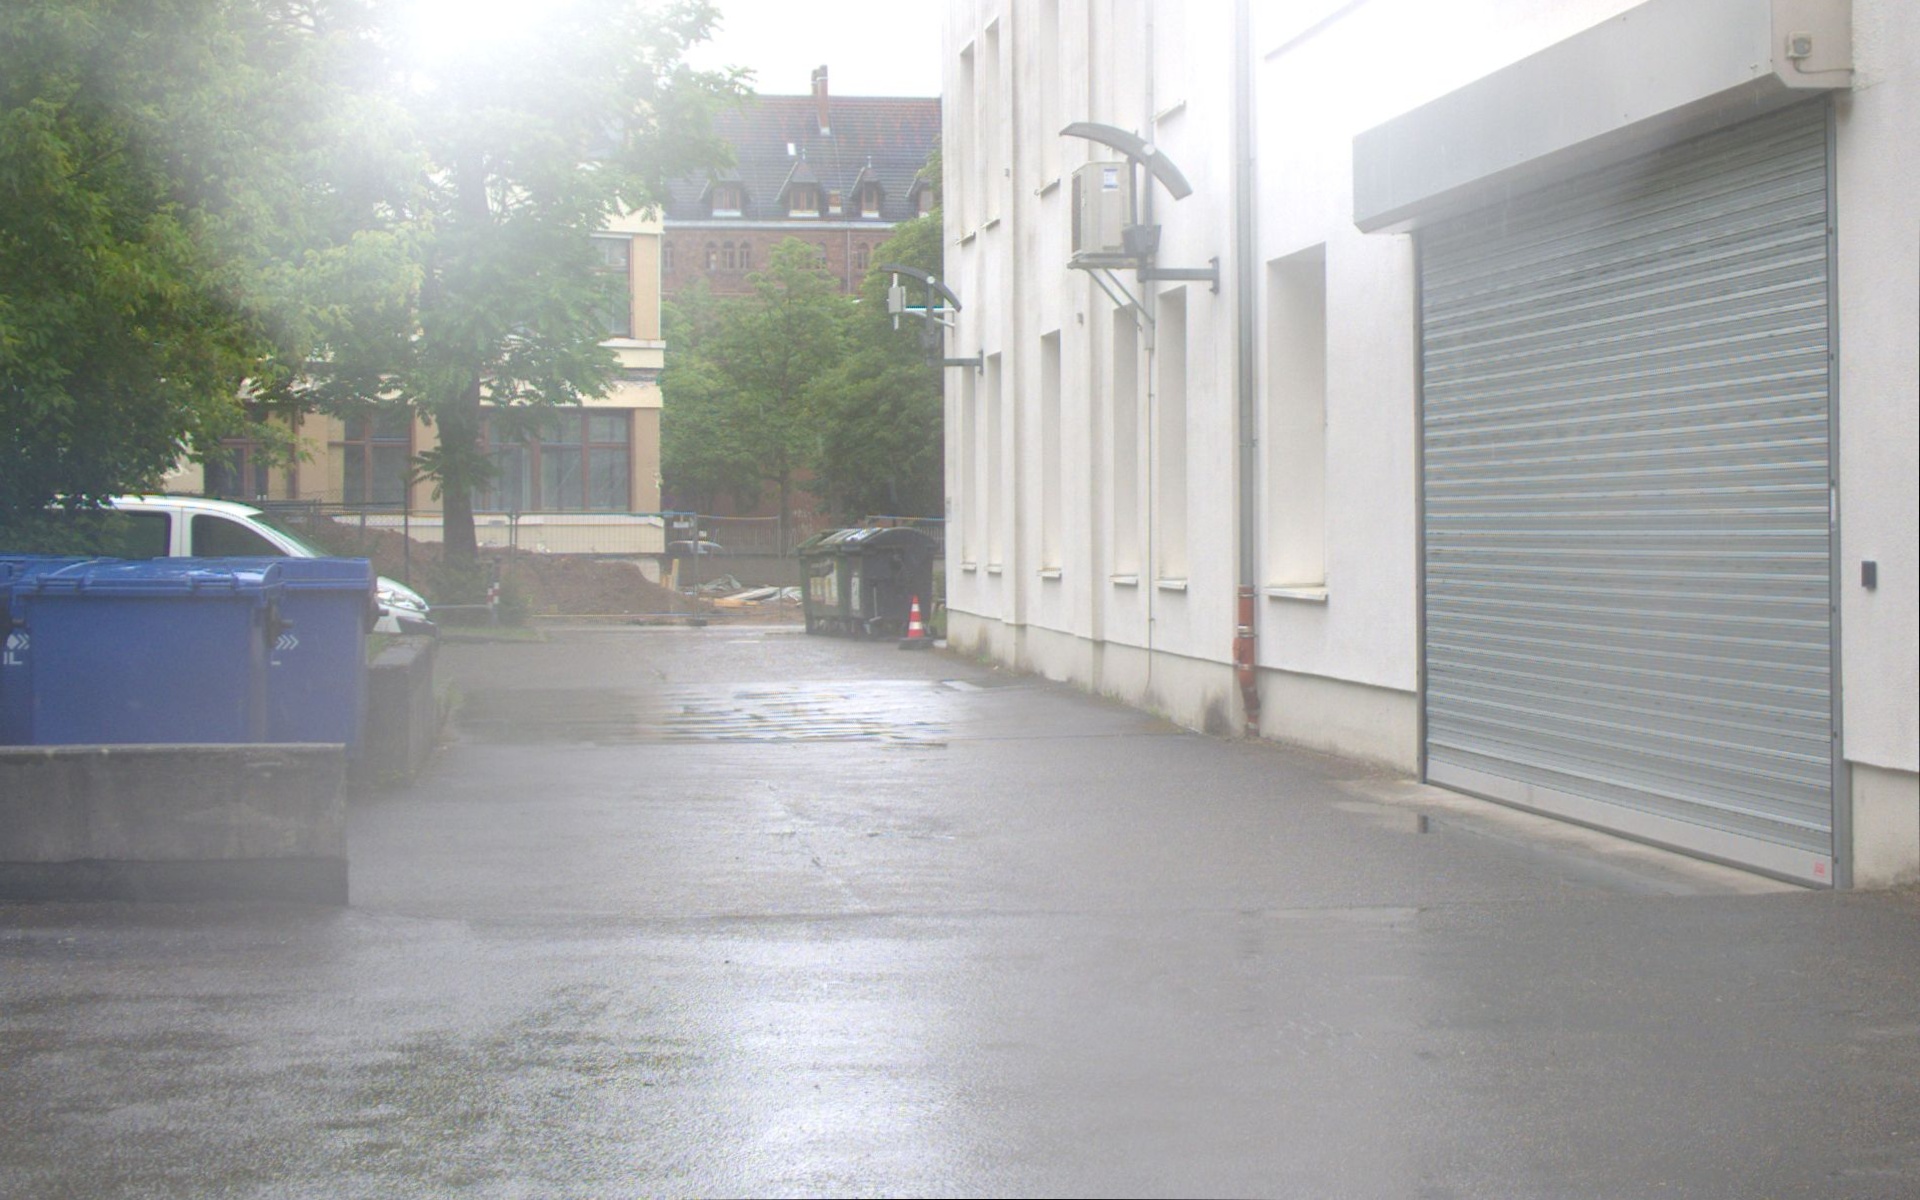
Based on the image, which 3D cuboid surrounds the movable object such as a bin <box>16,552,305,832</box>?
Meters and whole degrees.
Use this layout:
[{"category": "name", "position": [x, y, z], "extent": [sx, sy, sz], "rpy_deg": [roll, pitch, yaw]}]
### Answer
[{"category": "movable object such as a bin", "position": [-3.947, 0.433, 17.072], "extent": [1.202, 1.332, 1.117], "rpy_deg": [0, 1, -3]}]

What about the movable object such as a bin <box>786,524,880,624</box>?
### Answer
[{"category": "movable object such as a bin", "position": [-1.860, -0.371, 50.088], "extent": [1.214, 1.432, 1.259], "rpy_deg": [0, -1, -9]}]

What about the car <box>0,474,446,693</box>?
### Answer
[{"category": "car", "position": [-7.552, -0.192, 33.921], "extent": [4.779, 2.006, 2.001], "rpy_deg": [-1, 2, -6]}]

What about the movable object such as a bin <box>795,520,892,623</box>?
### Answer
[{"category": "movable object such as a bin", "position": [-1.661, -0.393, 48.723], "extent": [1.214, 1.432, 1.259], "rpy_deg": [0, -1, -9]}]

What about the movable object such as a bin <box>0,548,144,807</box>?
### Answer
[{"category": "movable object such as a bin", "position": [-5.098, 0.404, 18.565], "extent": [1.221, 1.332, 1.007], "rpy_deg": [0, 2, -6]}]

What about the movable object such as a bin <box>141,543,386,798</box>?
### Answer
[{"category": "movable object such as a bin", "position": [-3.796, 0.365, 18.839], "extent": [1.221, 1.332, 1.007], "rpy_deg": [0, 2, -6]}]

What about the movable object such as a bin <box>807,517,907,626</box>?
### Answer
[{"category": "movable object such as a bin", "position": [-1.423, -0.381, 47.365], "extent": [1.214, 1.463, 1.236], "rpy_deg": [0, -1, -9]}]

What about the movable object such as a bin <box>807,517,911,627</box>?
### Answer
[{"category": "movable object such as a bin", "position": [-1.350, -0.365, 45.726], "extent": [1.214, 1.432, 1.294], "rpy_deg": [0, -1, -9]}]

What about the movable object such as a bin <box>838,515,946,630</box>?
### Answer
[{"category": "movable object such as a bin", "position": [-0.881, -0.343, 44.081], "extent": [1.214, 1.432, 1.236], "rpy_deg": [0, -1, -9]}]

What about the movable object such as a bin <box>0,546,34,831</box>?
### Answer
[{"category": "movable object such as a bin", "position": [-5.258, 0.413, 16.892], "extent": [1.202, 1.332, 1.117], "rpy_deg": [1, 3, -7]}]
